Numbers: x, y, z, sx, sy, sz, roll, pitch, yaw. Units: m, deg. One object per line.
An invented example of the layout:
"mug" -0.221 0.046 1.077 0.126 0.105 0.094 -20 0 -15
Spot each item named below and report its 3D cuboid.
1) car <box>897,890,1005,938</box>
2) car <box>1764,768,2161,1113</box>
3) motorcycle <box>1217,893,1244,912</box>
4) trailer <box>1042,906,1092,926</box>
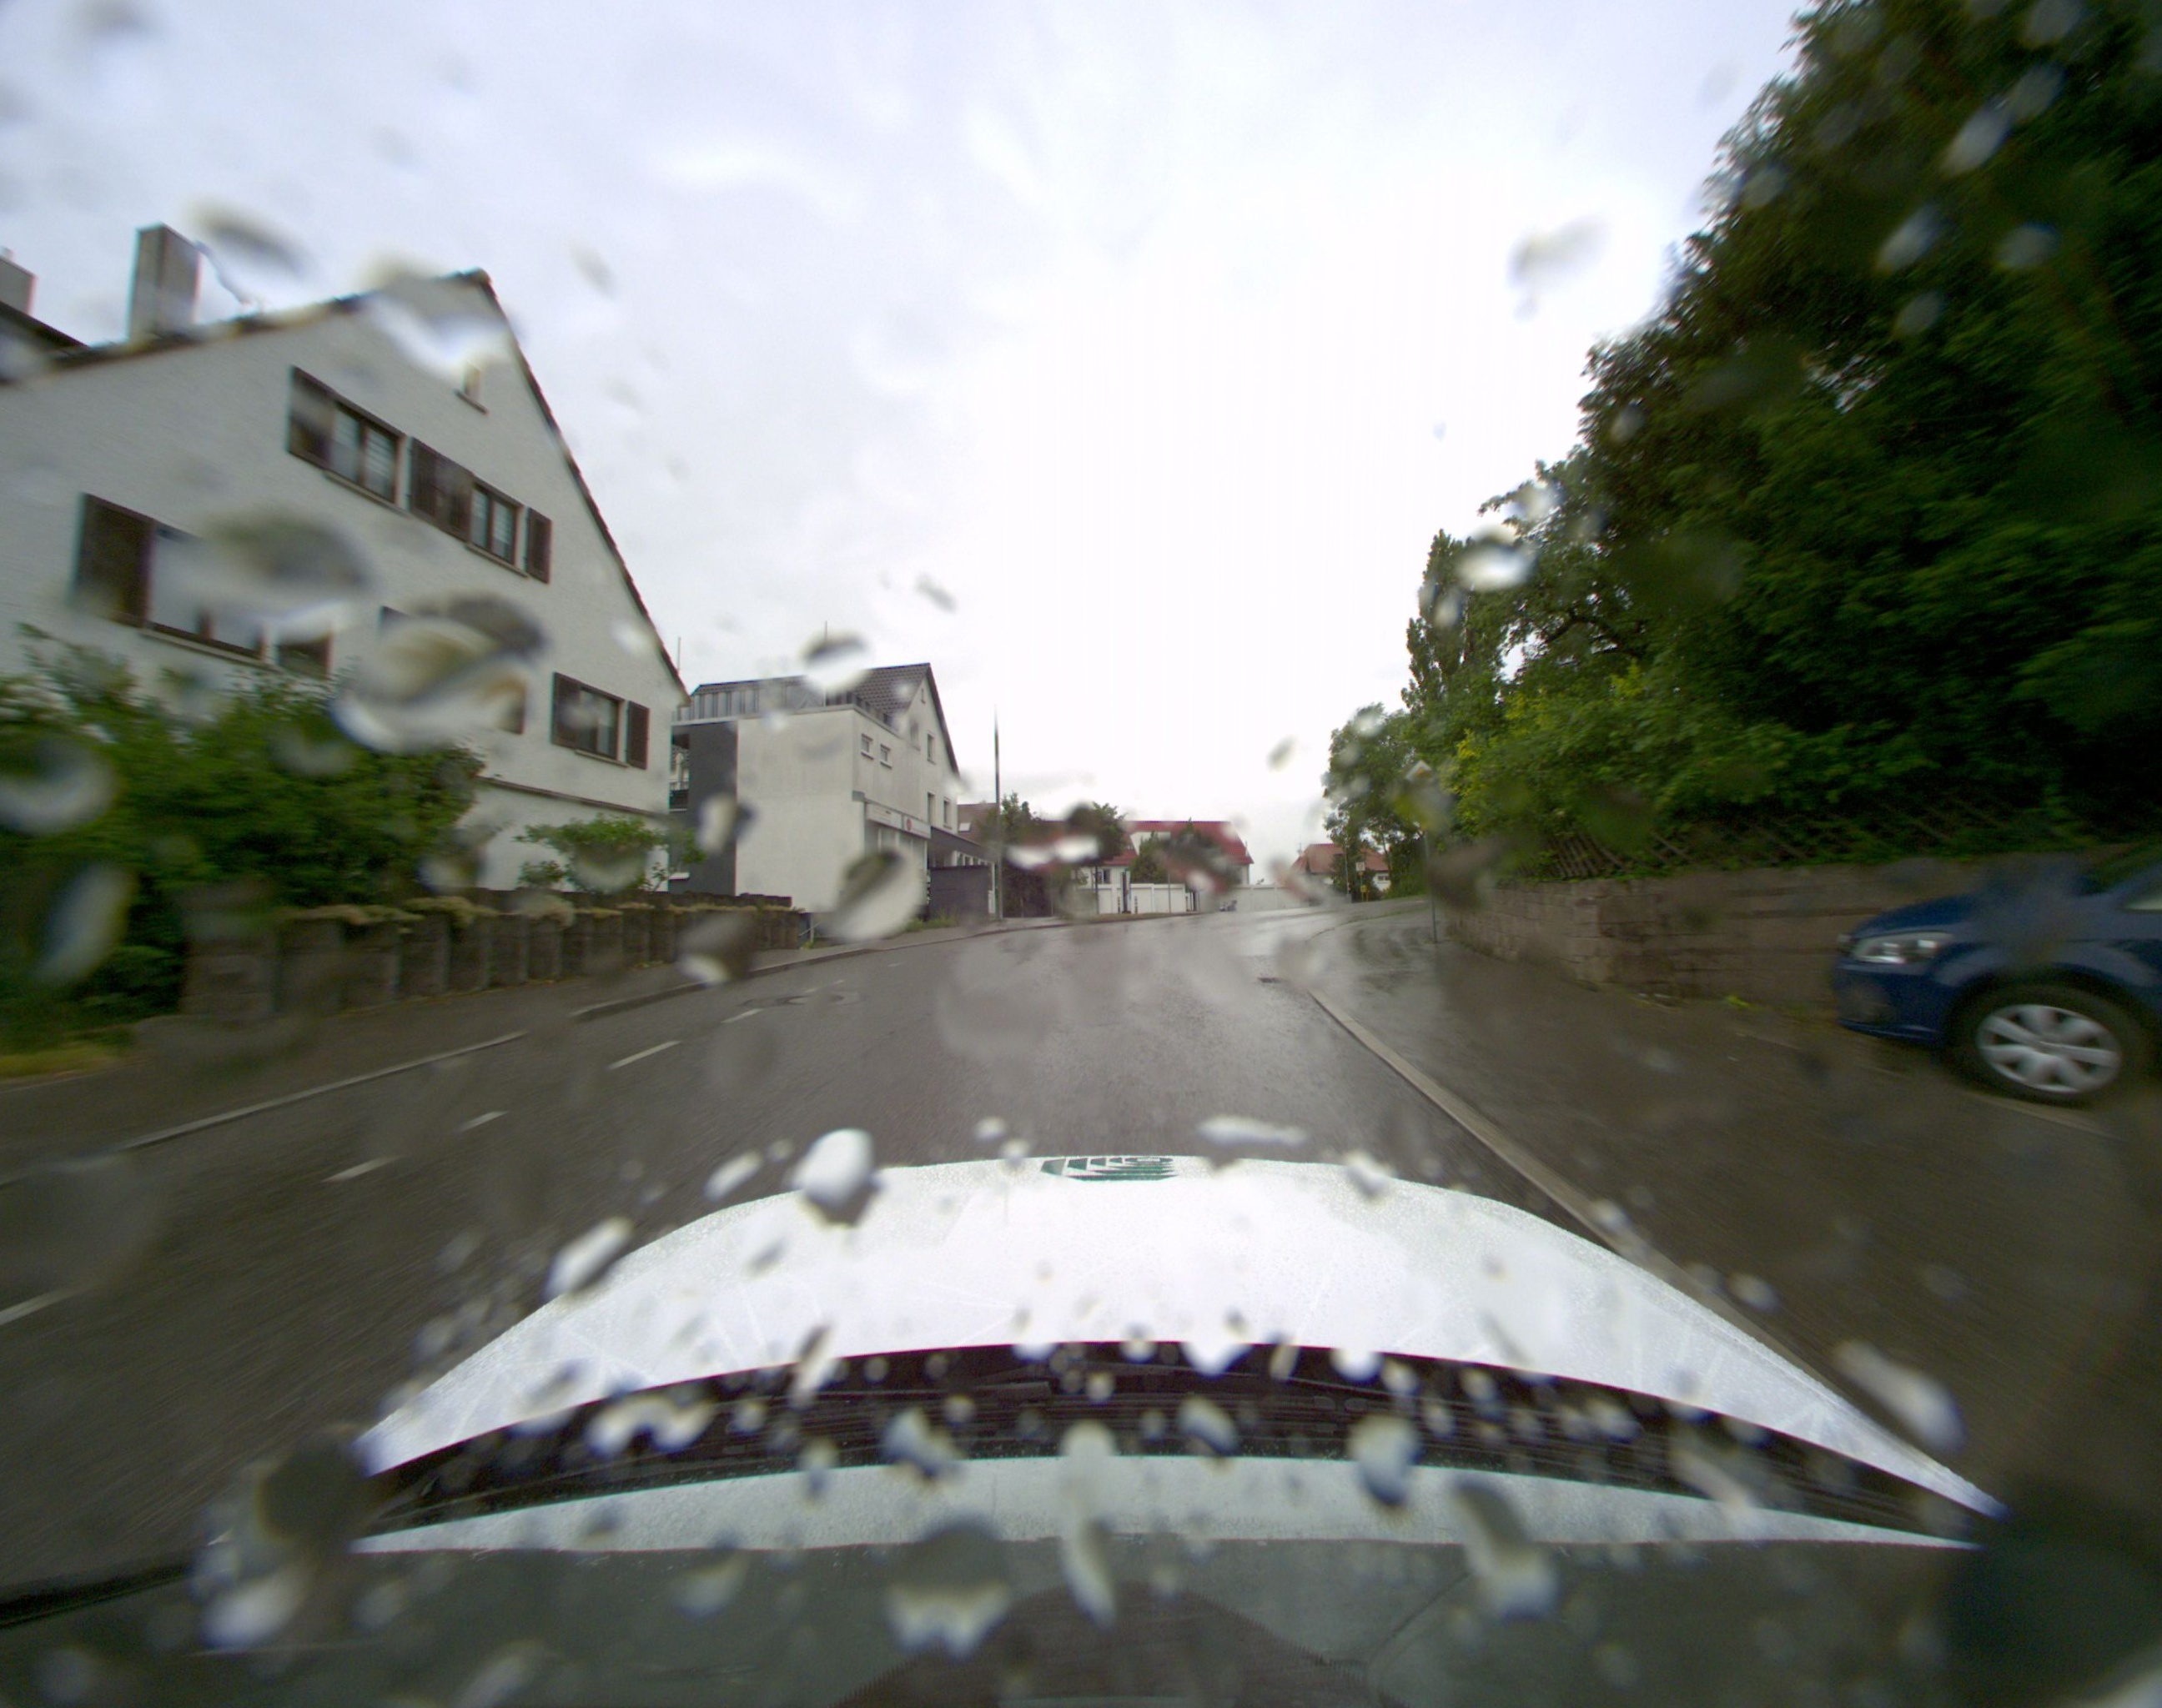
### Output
"car" -8.109 3.784 51.276 6.207 2.524 2.192 -5 -5 3
"car" 6.354 0.323 4.006 1.867 1.606 4.286 -7 1 -43
"motorcycle" 11.107 3.589 60.379 2.056 1.322 0.701 -1 -6 -38
"trailer" -0.858 3.906 51.229 2.797 1.007 1.597 -6 -4 9
